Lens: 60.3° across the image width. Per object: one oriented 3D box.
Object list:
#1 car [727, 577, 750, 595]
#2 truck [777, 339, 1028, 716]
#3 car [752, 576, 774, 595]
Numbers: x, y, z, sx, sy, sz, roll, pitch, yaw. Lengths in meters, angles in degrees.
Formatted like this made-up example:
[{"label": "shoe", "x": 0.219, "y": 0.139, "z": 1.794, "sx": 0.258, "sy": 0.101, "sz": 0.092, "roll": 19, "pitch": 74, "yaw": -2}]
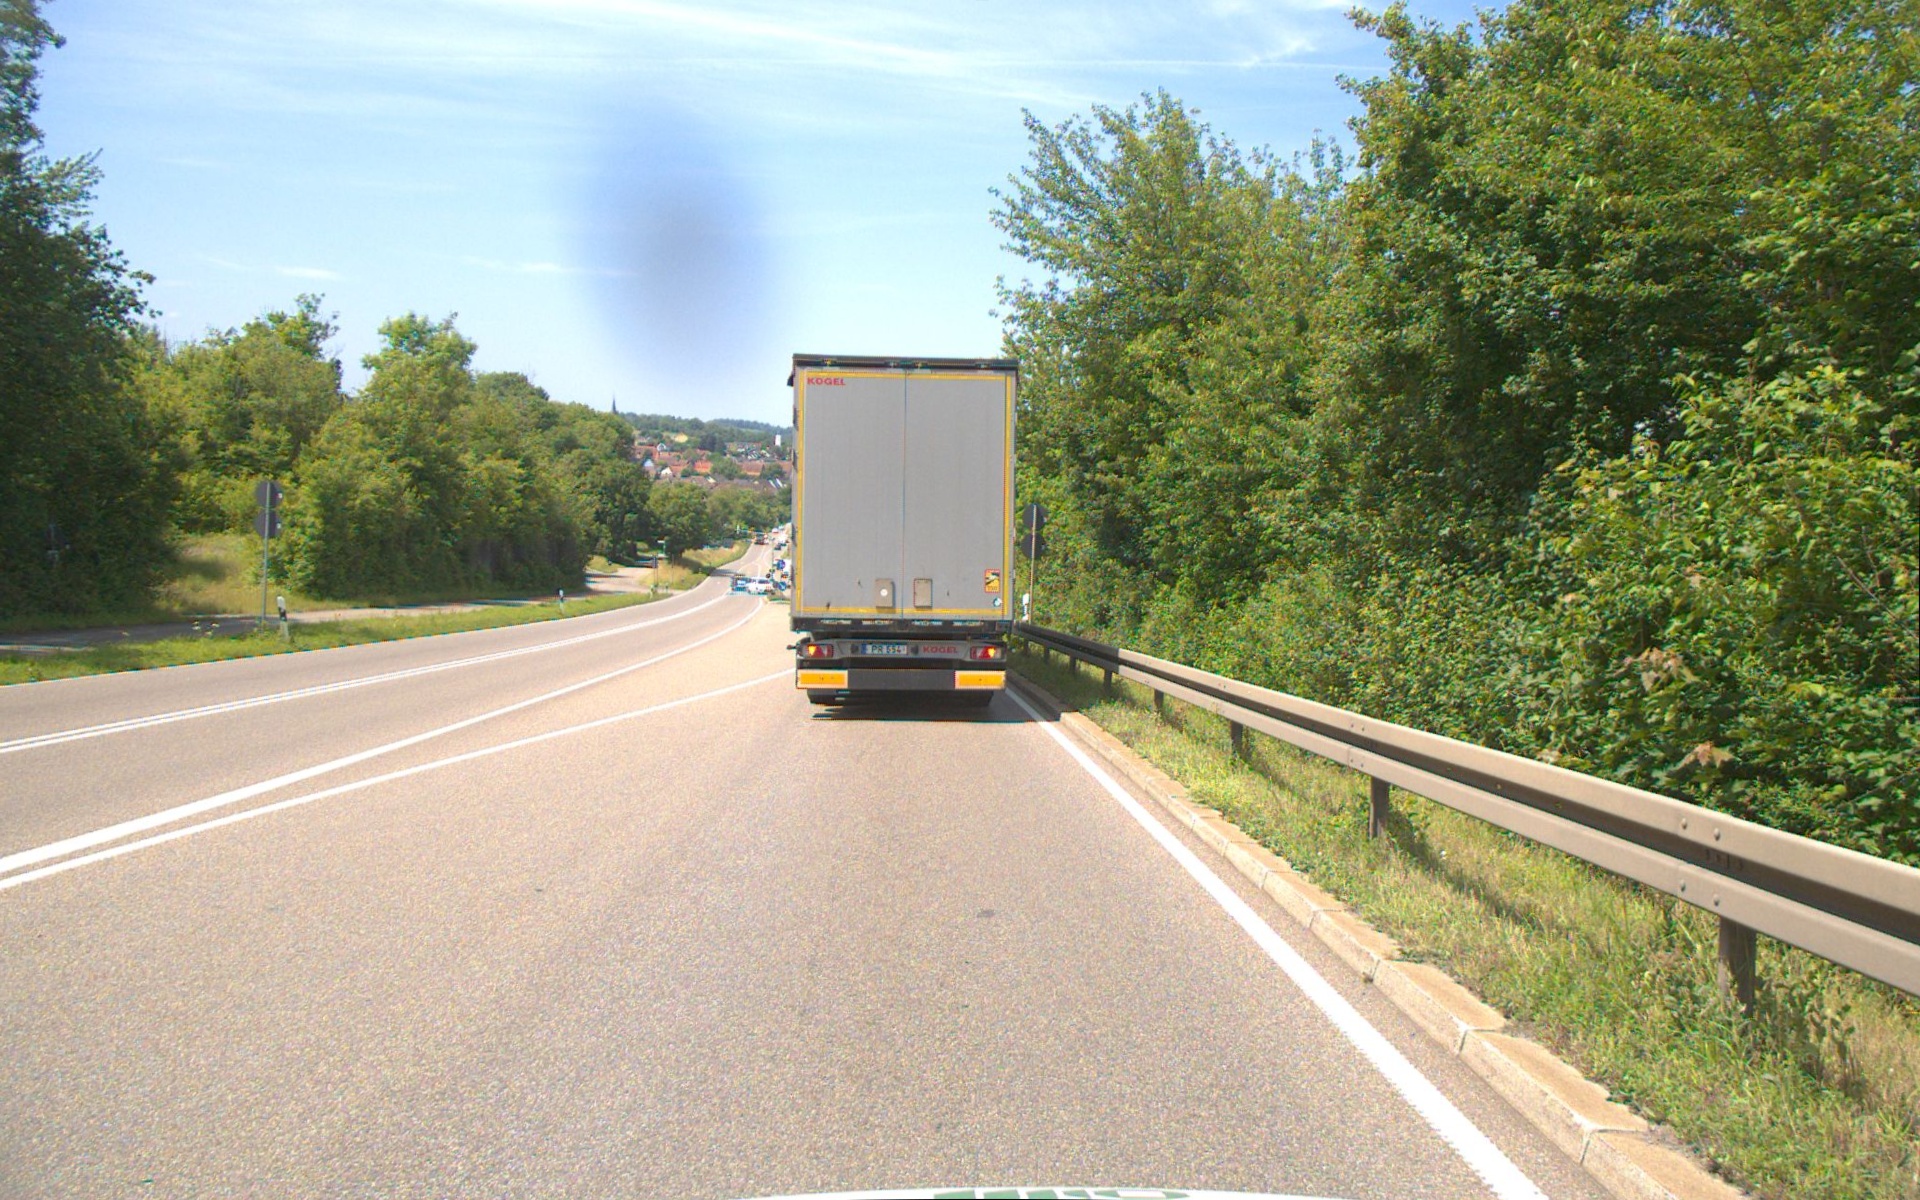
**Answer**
[{"label": "car", "x": -23.030, "y": -1.408, "z": 171.613, "sx": 1.776, "sy": 1.825, "sz": 3.824, "roll": 1, "pitch": 0, "yaw": -17}, {"label": "truck", "x": -0.795, "y": -0.852, "z": 24.102, "sx": 2.701, "sy": 4.100, "sz": 11.920, "roll": 1, "pitch": 1, "yaw": -2}, {"label": "car", "x": -18.861, "y": -1.386, "z": 157.992, "sx": 1.499, "sy": 1.825, "sz": 3.388, "roll": 1, "pitch": 0, "yaw": -17}]
